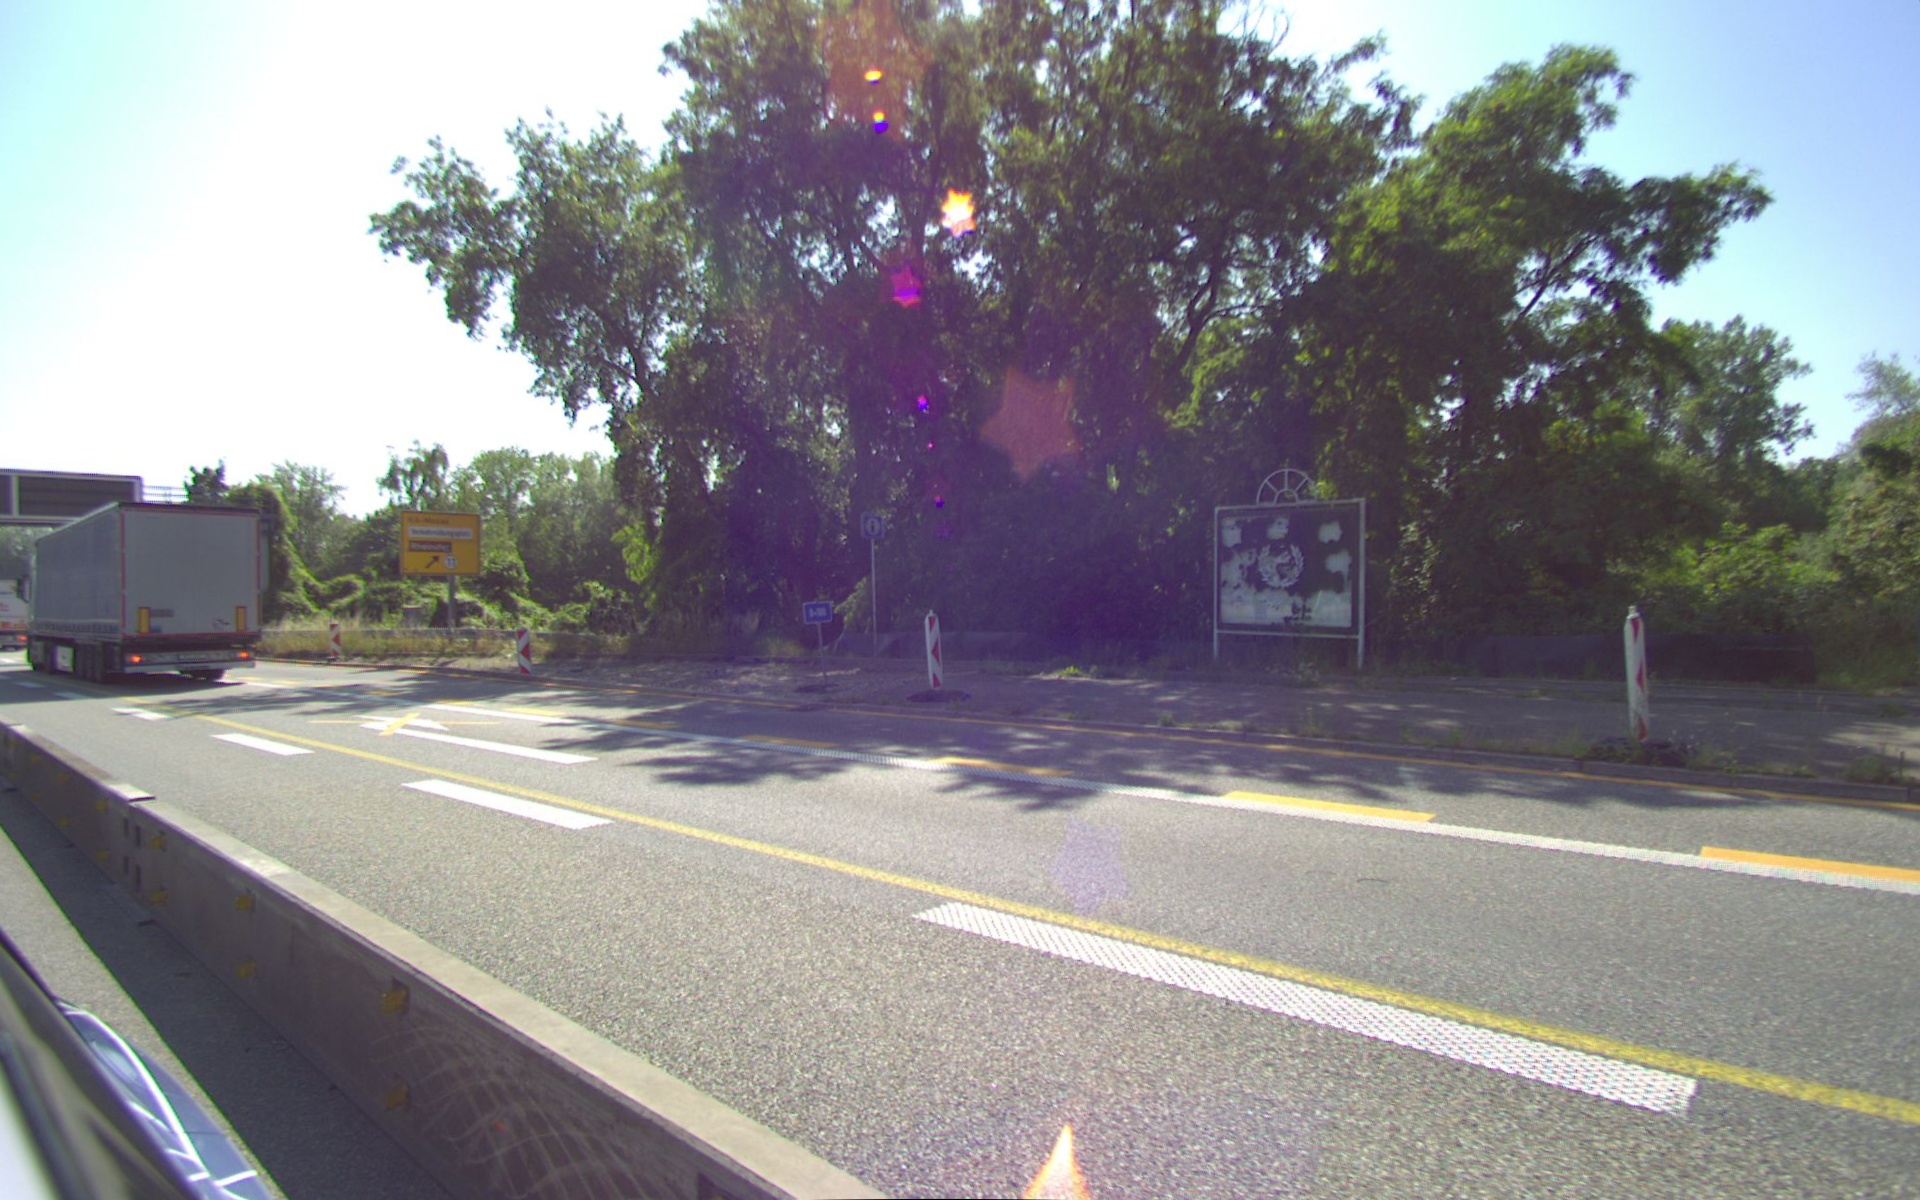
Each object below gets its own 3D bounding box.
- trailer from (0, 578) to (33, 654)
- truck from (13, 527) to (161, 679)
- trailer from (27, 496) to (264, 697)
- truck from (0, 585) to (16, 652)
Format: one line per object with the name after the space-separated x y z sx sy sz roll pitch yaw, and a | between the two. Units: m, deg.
-56.703 0.966 58.986 12.341 4.136 3.012 -1 -1 43 | trailer
-26.647 0.123 30.798 6.504 4.159 2.593 -1 -1 42 | truck
-21.821 0.015 26.565 14.062 4.159 2.593 -1 -1 42 | trailer
-61.994 1.181 63.919 7.643 4.136 3.012 -1 -1 43 | truck
